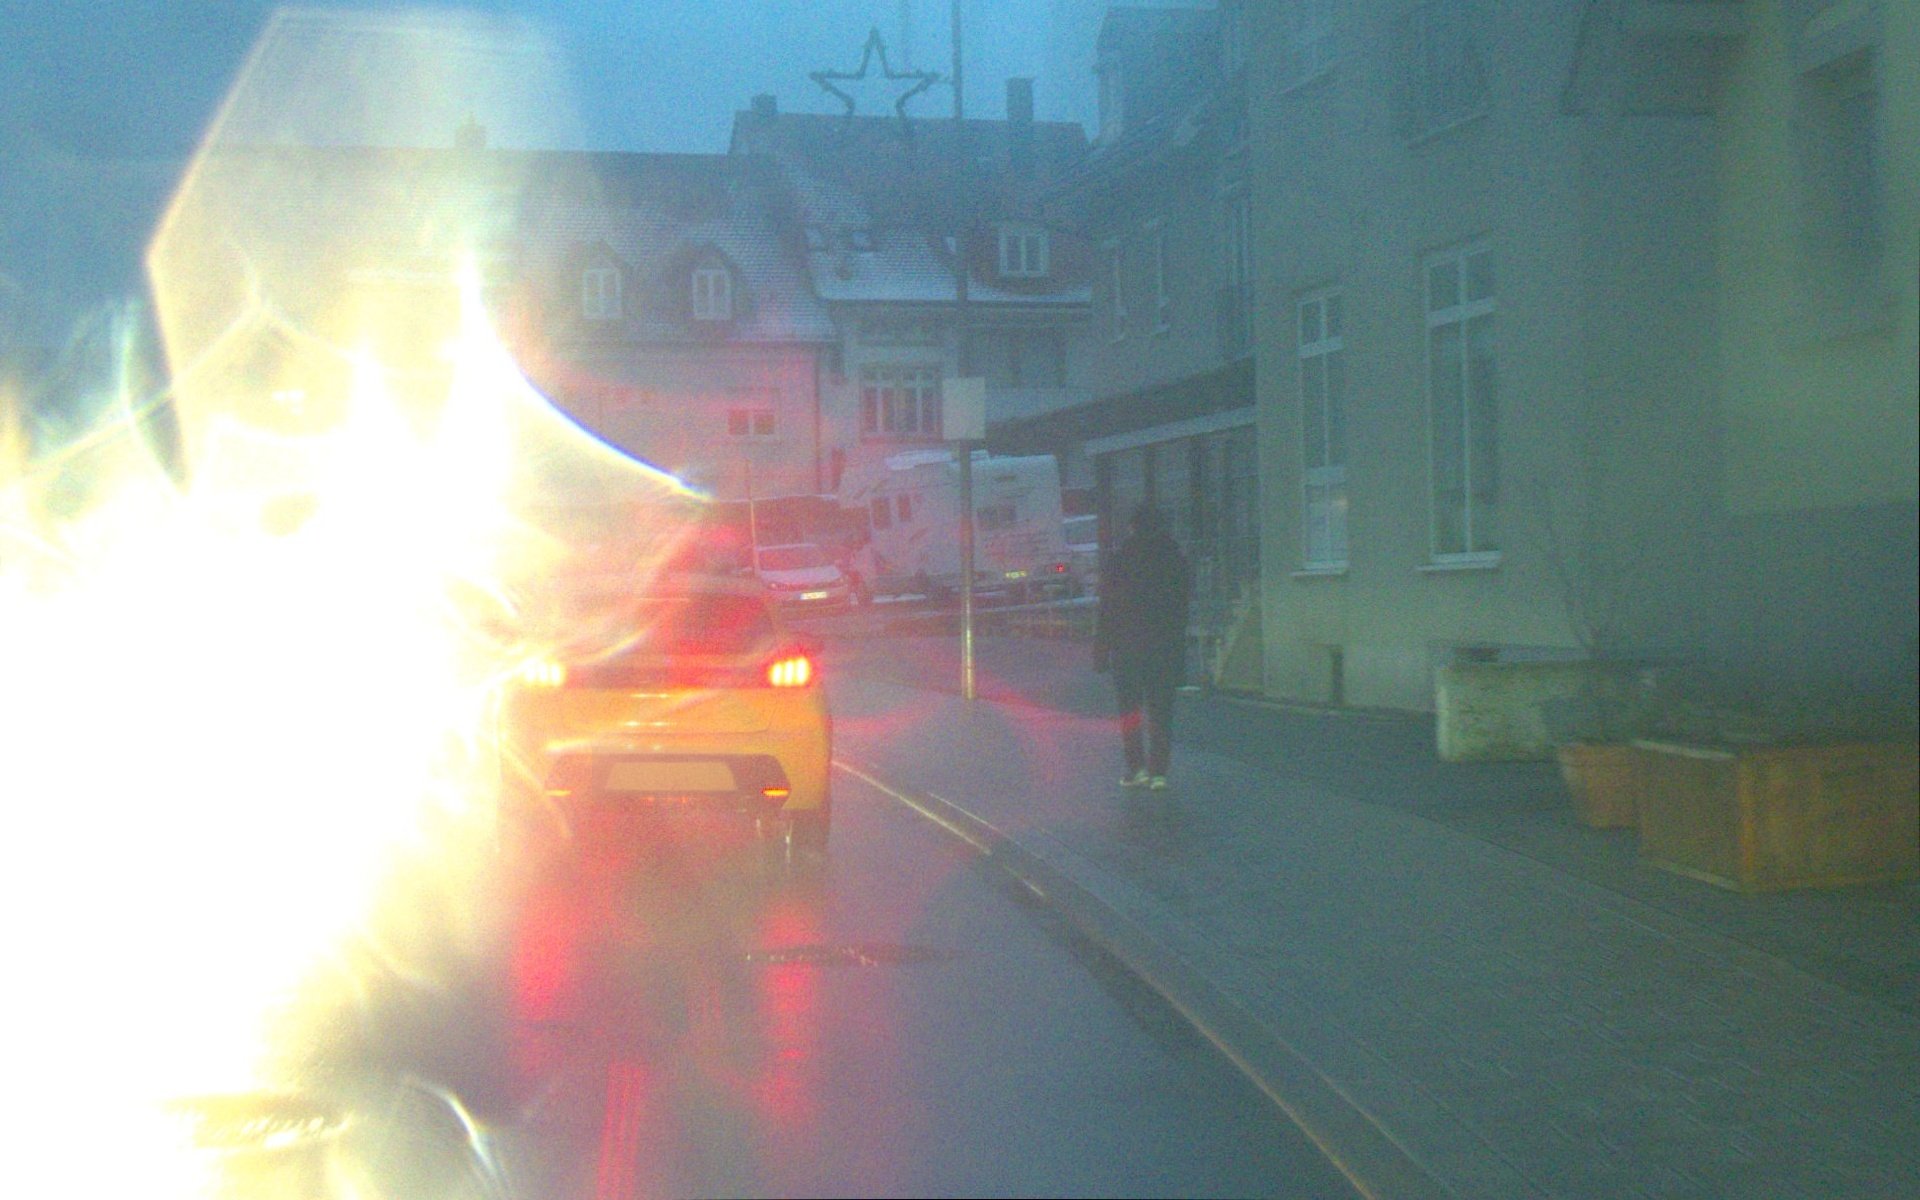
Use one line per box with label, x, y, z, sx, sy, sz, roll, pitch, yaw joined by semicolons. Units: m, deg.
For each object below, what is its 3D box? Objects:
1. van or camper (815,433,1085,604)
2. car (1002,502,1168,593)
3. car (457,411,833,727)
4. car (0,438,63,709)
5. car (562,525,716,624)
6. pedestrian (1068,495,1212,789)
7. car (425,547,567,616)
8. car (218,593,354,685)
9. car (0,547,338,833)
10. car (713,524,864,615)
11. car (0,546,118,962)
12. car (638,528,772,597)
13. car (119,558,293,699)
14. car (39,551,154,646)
van or camper;-0.289;-1.566;67.455;2.650;3.037;6.736;-4;2;-24
car;2.412;-1.031;67.284;1.788;1.548;4.001;-7;3;-19
car;-1.741;-0.166;18.770;1.814;1.528;4.001;0;0;-6
car;-10.495;-0.257;33.749;2.485;2.551;6.763;1;0;-8
car;-6.221;-0.509;66.224;1.993;1.759;4.352;-3;2;-18
pedestrian;1.076;0.237;20.691;0.745;1.723;0.873;-1;2;-4
car;-10.149;-0.422;74.956;1.886;1.457;3.634;-1;1;-29
car;-12.310;0.689;62.610;1.993;1.583;4.001;0;0;-18
car;-5.054;0.478;21.508;1.993;1.550;4.259;-1;1;-6
car;-3.370;-0.569;66.634;1.993;1.605;4.175;-3;0;-15
car;-4.568;0.577;13.382;1.857;1.550;4.258;-1;1;-5
car;-5.853;-0.884;78.371;1.822;1.457;4.550;-3;2;-20
car;-9.231;0.321;41.985;1.917;1.559;4.228;-2;1;-13
car;-20.468;-0.052;81.355;1.993;2.195;4.001;0;0;-24
